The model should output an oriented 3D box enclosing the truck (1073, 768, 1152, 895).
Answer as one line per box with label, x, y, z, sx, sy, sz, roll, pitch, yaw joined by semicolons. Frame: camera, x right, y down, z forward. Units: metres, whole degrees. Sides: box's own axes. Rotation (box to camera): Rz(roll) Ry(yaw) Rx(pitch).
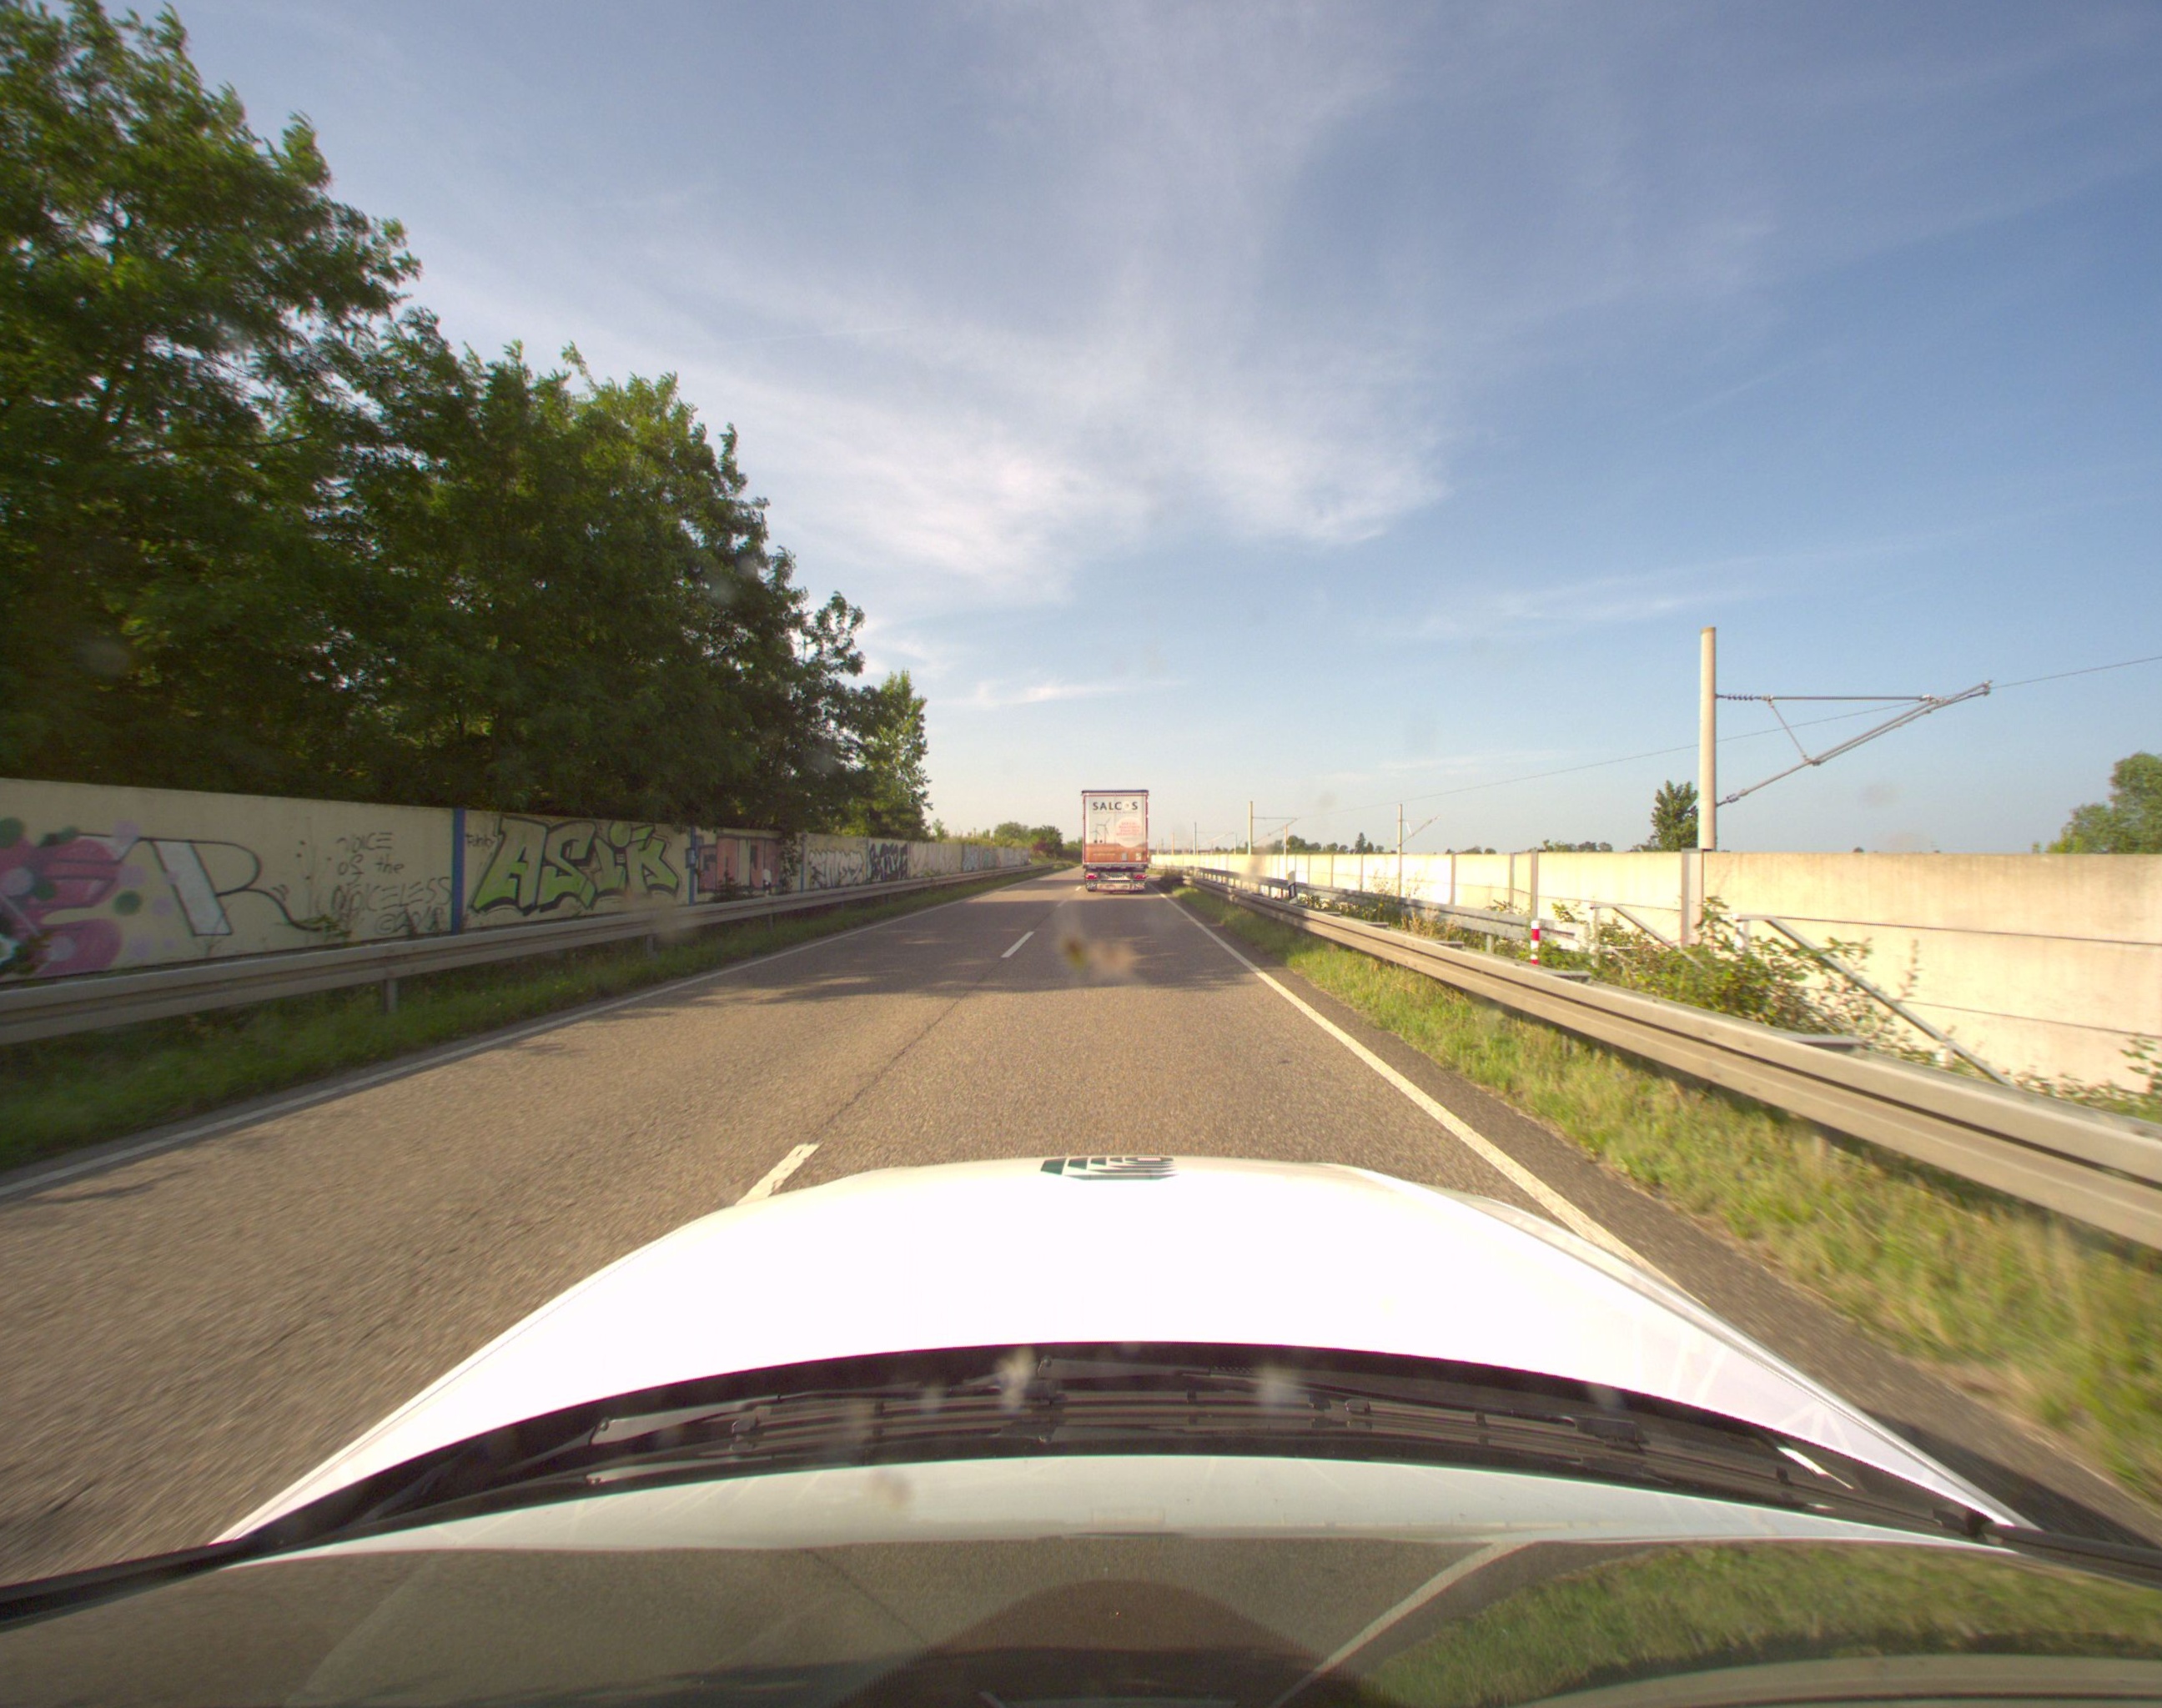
truck;1.376;-0.846;37.375;3.022;4.920;11.687;0;0;1
